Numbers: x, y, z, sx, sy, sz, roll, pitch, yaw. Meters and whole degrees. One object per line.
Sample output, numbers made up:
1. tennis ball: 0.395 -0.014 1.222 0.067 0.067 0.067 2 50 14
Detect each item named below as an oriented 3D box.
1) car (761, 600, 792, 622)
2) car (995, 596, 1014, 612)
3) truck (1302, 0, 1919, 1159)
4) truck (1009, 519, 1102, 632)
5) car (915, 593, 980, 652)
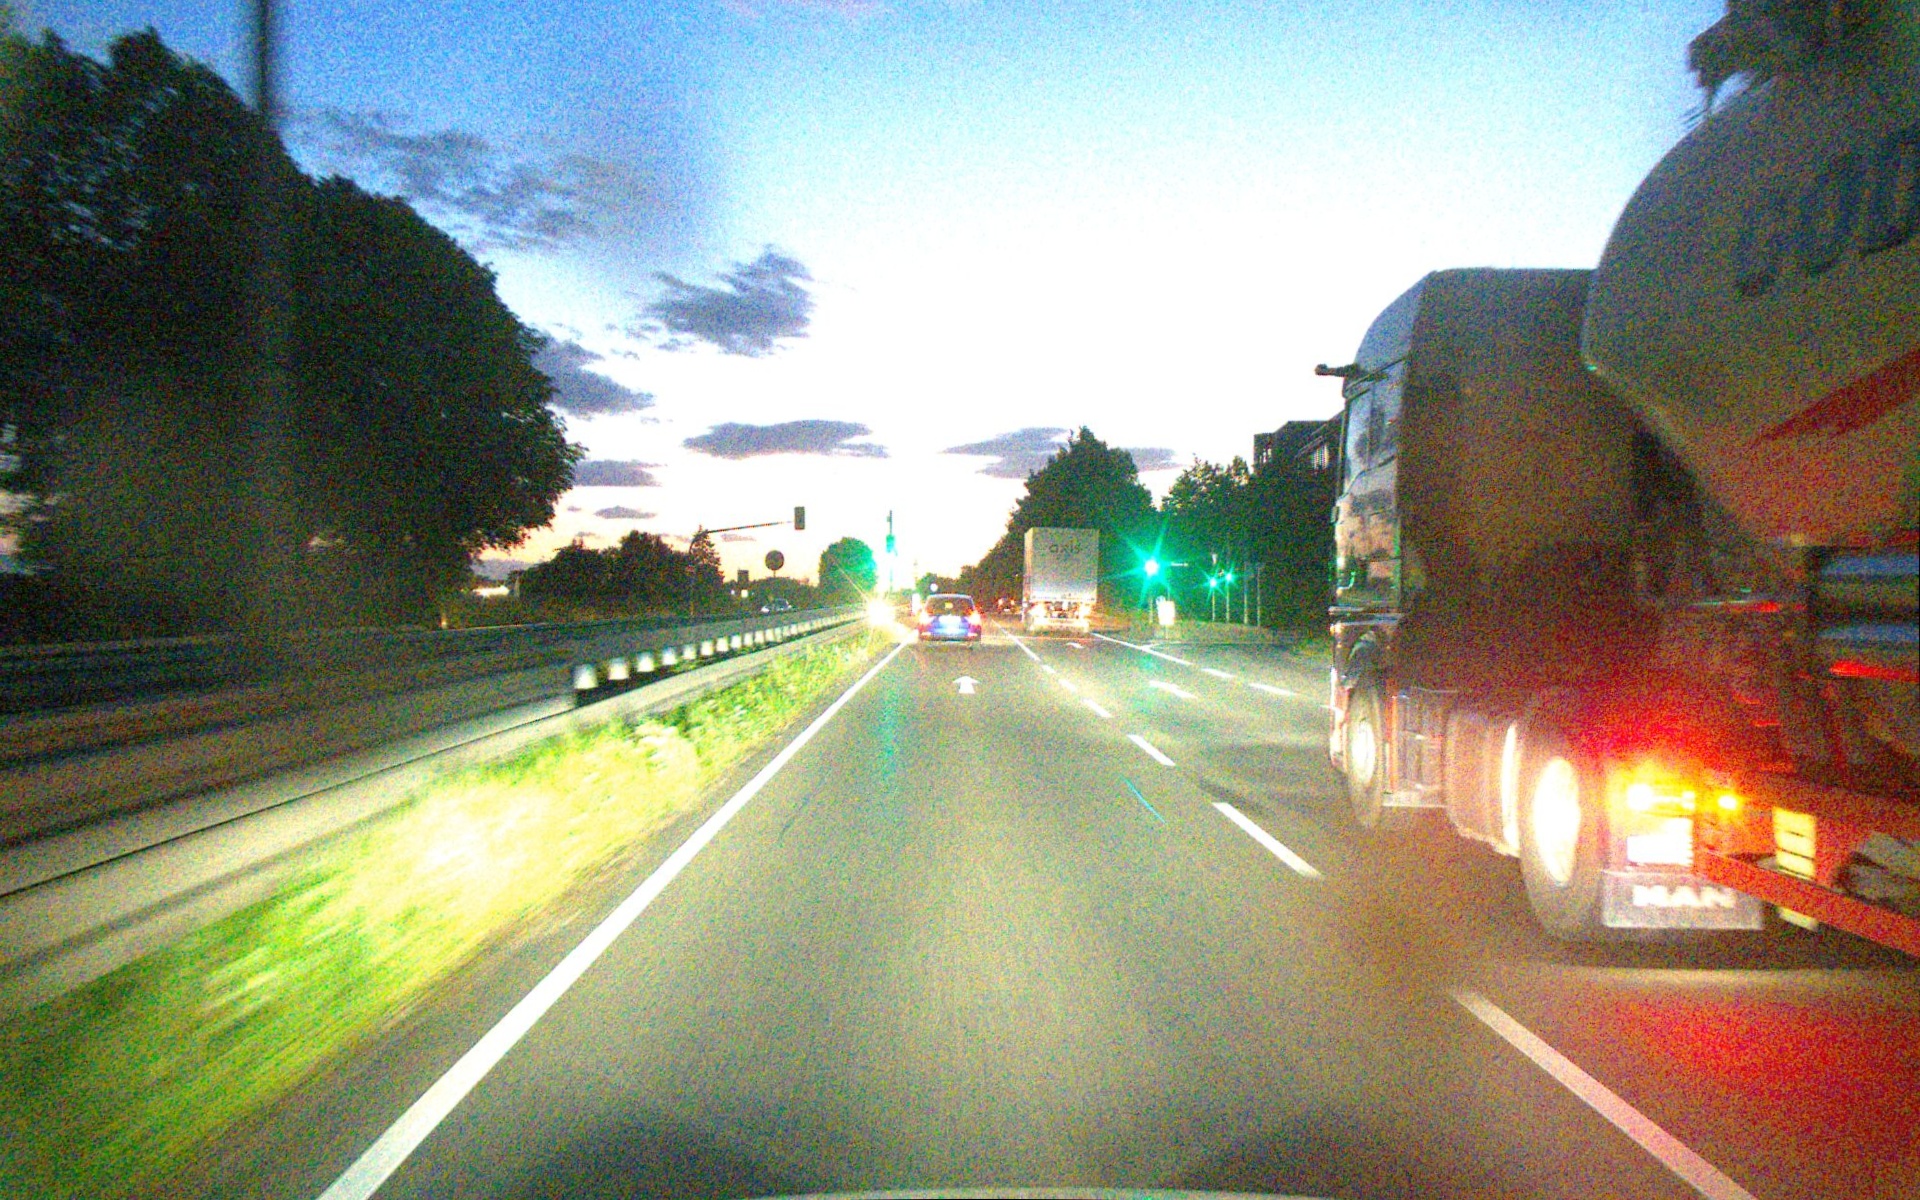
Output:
1. car: -11.719 0.696 106.042 1.573 1.353 3.938 -2 0 -1
2. car: 4.391 0.385 163.795 1.661 1.478 3.913 1 0 -1
3. truck: 3.995 -0.541 6.502 2.632 4.178 13.141 1 0 0
4. truck: 3.748 -0.934 68.011 2.824 4.178 12.680 1 0 -1
5. car: -0.361 0.573 44.248 1.661 1.478 3.913 1 0 -1
